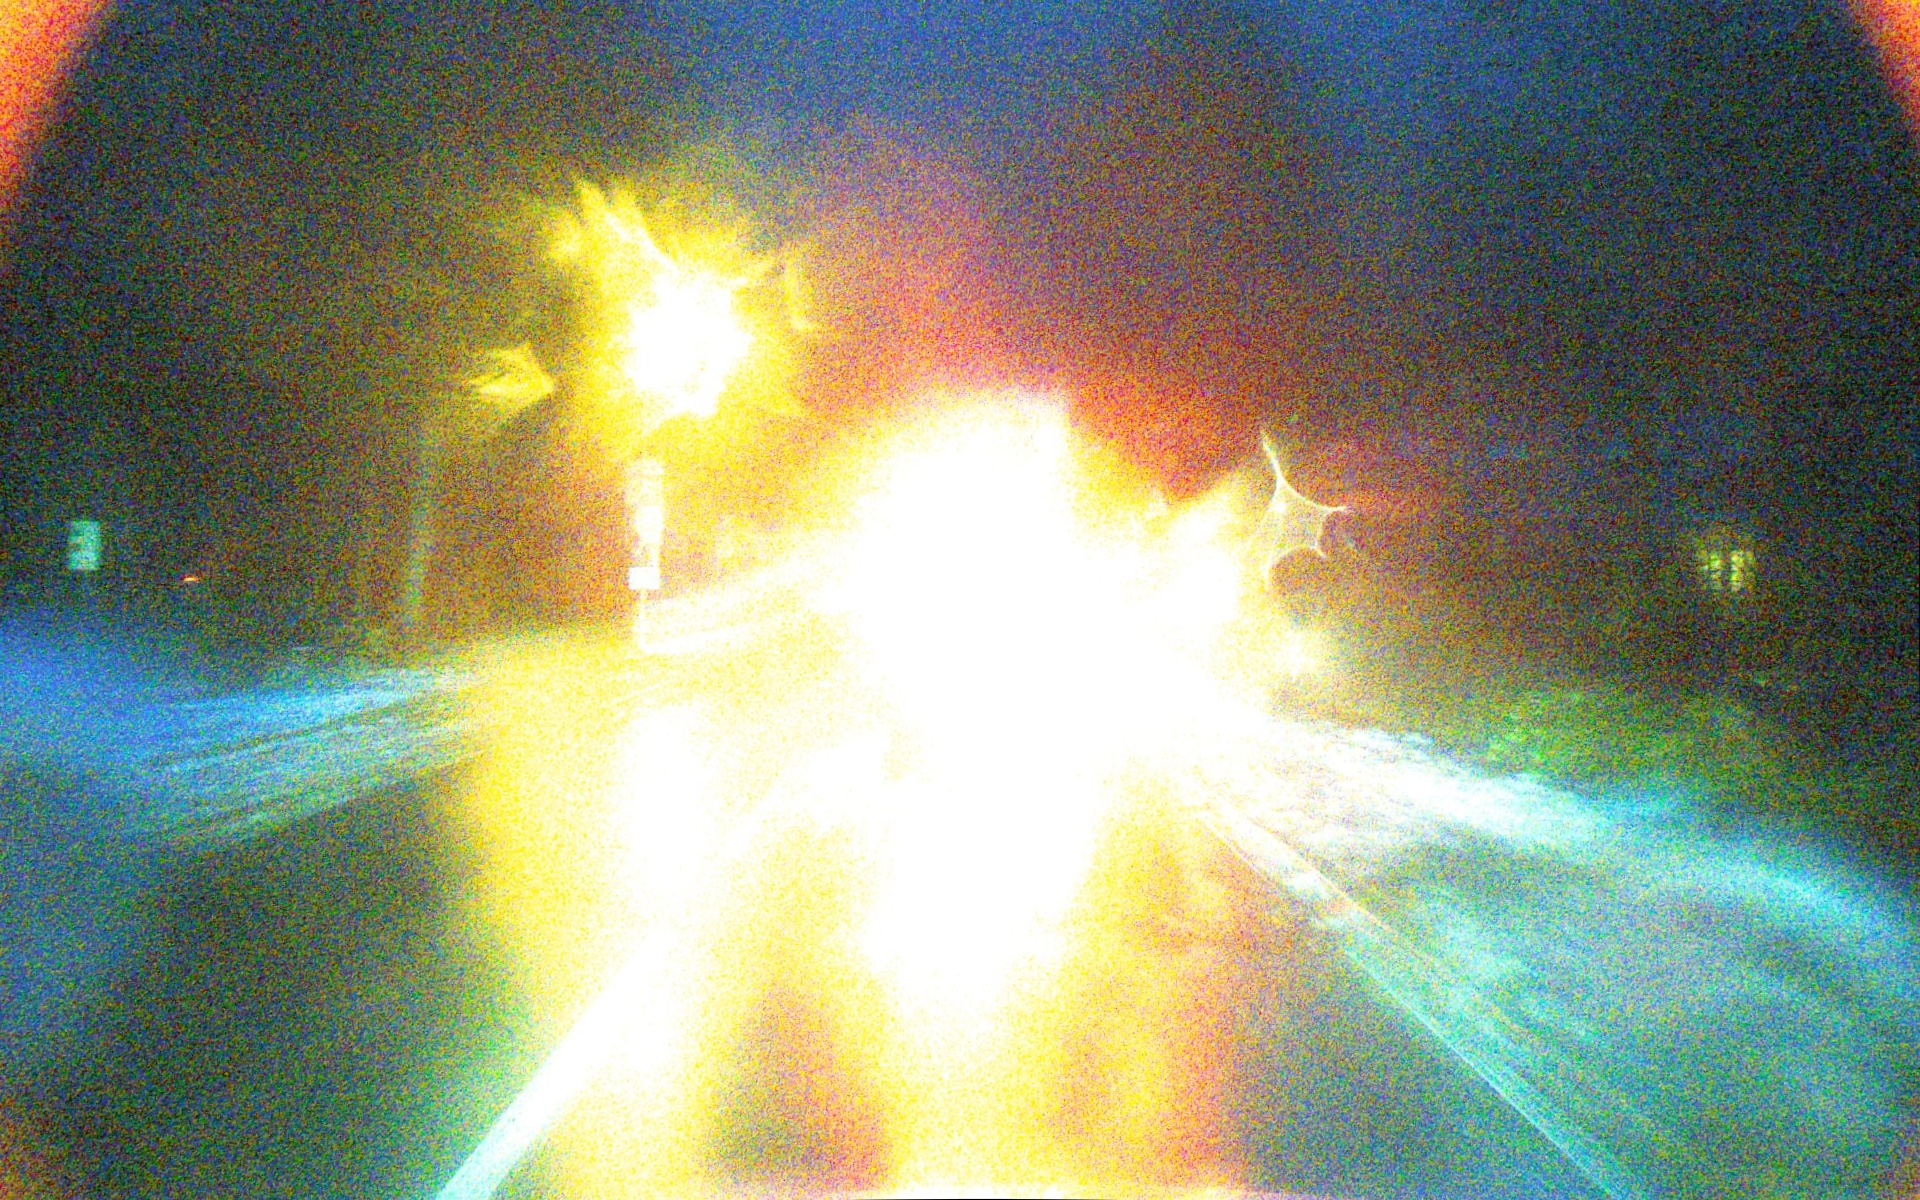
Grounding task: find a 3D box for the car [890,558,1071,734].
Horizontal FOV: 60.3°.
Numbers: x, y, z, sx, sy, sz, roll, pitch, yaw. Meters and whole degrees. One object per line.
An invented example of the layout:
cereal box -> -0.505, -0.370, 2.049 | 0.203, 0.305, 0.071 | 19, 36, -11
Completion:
car -> 0.261, 0.435, 18.075 | 1.753, 1.711, 3.905 | 0, 0, 2
